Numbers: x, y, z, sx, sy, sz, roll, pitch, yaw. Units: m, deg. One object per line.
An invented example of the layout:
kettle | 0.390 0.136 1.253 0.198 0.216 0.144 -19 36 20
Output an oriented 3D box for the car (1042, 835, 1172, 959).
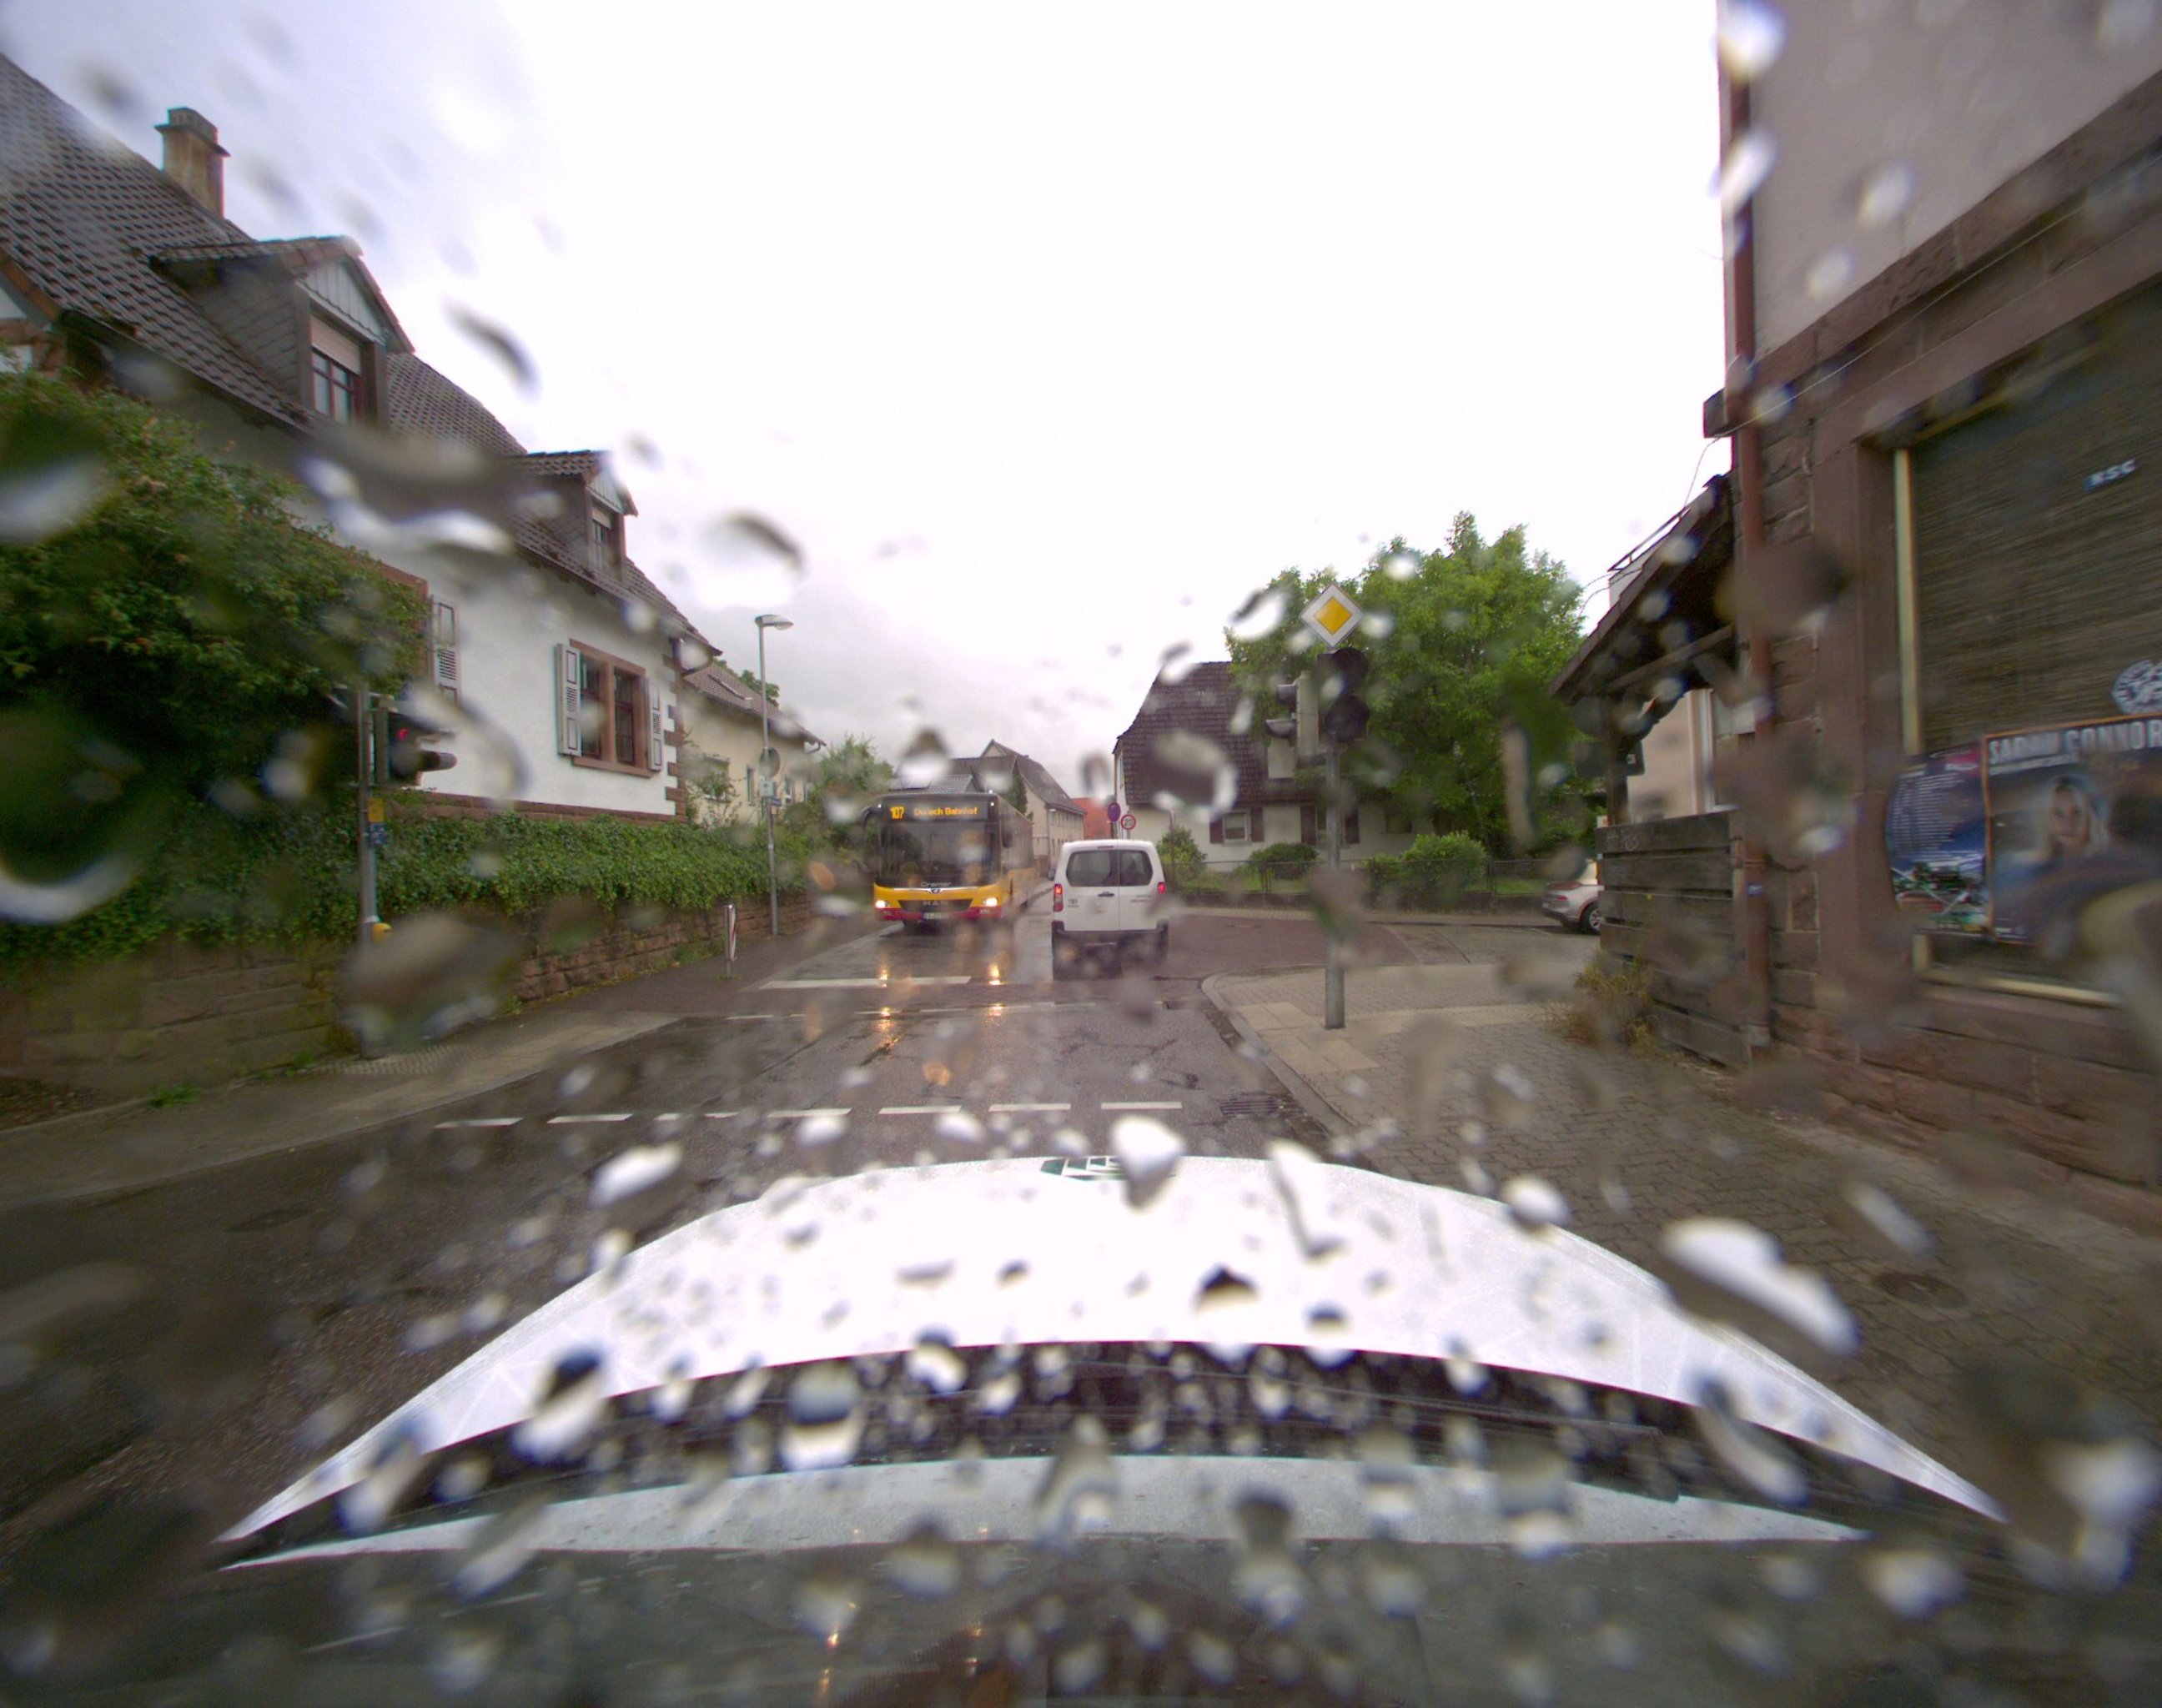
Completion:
car | 0.409 0.633 13.858 1.888 1.794 3.813 -1 0 1

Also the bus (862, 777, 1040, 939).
bus | -2.772 -0.053 21.549 2.641 2.999 12.192 -1 1 0

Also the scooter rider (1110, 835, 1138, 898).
scooter rider | 1.231 0.350 23.306 0.728 1.733 0.518 -2 0 3

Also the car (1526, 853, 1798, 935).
car | 11.103 0.736 15.893 3.957 1.467 1.791 0 -1 16
